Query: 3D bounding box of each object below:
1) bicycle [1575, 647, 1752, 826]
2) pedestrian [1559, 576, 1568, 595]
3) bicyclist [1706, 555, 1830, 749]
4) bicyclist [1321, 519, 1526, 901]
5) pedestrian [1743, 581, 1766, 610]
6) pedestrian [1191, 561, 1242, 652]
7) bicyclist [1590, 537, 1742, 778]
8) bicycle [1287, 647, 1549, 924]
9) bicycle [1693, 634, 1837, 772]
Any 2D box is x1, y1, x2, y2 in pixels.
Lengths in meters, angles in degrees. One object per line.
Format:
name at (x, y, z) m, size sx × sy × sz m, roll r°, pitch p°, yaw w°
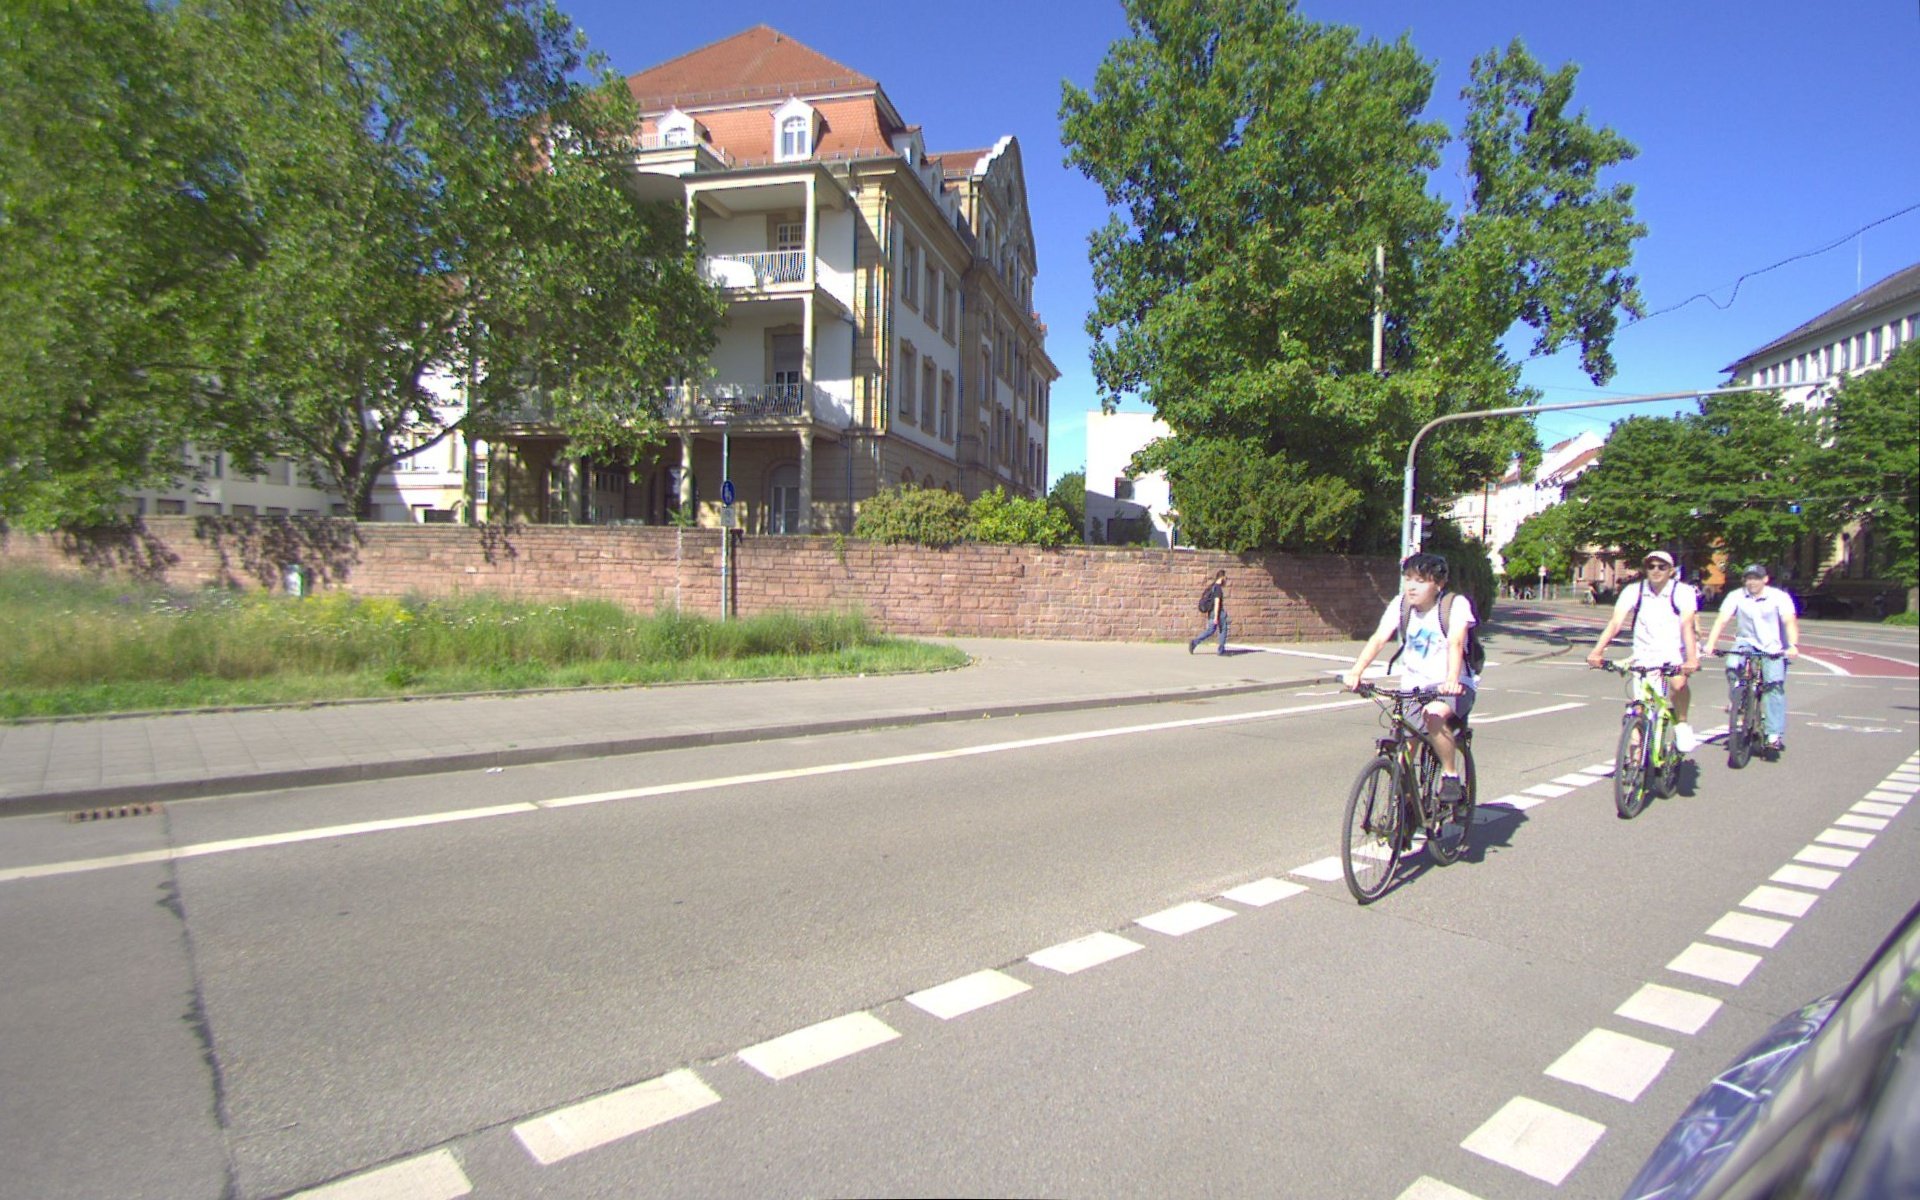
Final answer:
bicycle at (5.137, 0.914, 7.344) m, size 1.812 × 1.064 × 0.672 m, roll 0°, pitch 0°, yaw -42°
pedestrian at (61.399, -1.453, 102.921) m, size 0.751 × 1.837 × 0.970 m, roll 1°, pitch -3°, yaw 30°
bicyclist at (7.499, 0.438, 9.397) m, size 0.851 × 1.695 × 0.741 m, roll 0°, pitch 1°, yaw -43°
bicyclist at (2.459, 0.513, 5.359) m, size 0.924 × 1.808 × 0.677 m, roll 0°, pitch 0°, yaw -42°
pedestrian at (51.325, -0.274, 65.396) m, size 0.745 × 1.835 × 0.978 m, roll 1°, pitch 1°, yaw 8°
pedestrian at (5.487, 0.128, 21.690) m, size 0.947 × 1.872 × 0.729 m, roll 3°, pitch 2°, yaw 12°
bicyclist at (5.136, 0.380, 7.354) m, size 1.063 × 1.603 × 0.675 m, roll 0°, pitch -1°, yaw -42°
bicycle at (2.493, 0.873, 5.402) m, size 1.795 × 1.152 × 0.616 m, roll 0°, pitch 1°, yaw -43°
bicycle at (7.533, 0.900, 9.443) m, size 1.871 × 1.063 × 0.748 m, roll 0°, pitch 2°, yaw -43°
